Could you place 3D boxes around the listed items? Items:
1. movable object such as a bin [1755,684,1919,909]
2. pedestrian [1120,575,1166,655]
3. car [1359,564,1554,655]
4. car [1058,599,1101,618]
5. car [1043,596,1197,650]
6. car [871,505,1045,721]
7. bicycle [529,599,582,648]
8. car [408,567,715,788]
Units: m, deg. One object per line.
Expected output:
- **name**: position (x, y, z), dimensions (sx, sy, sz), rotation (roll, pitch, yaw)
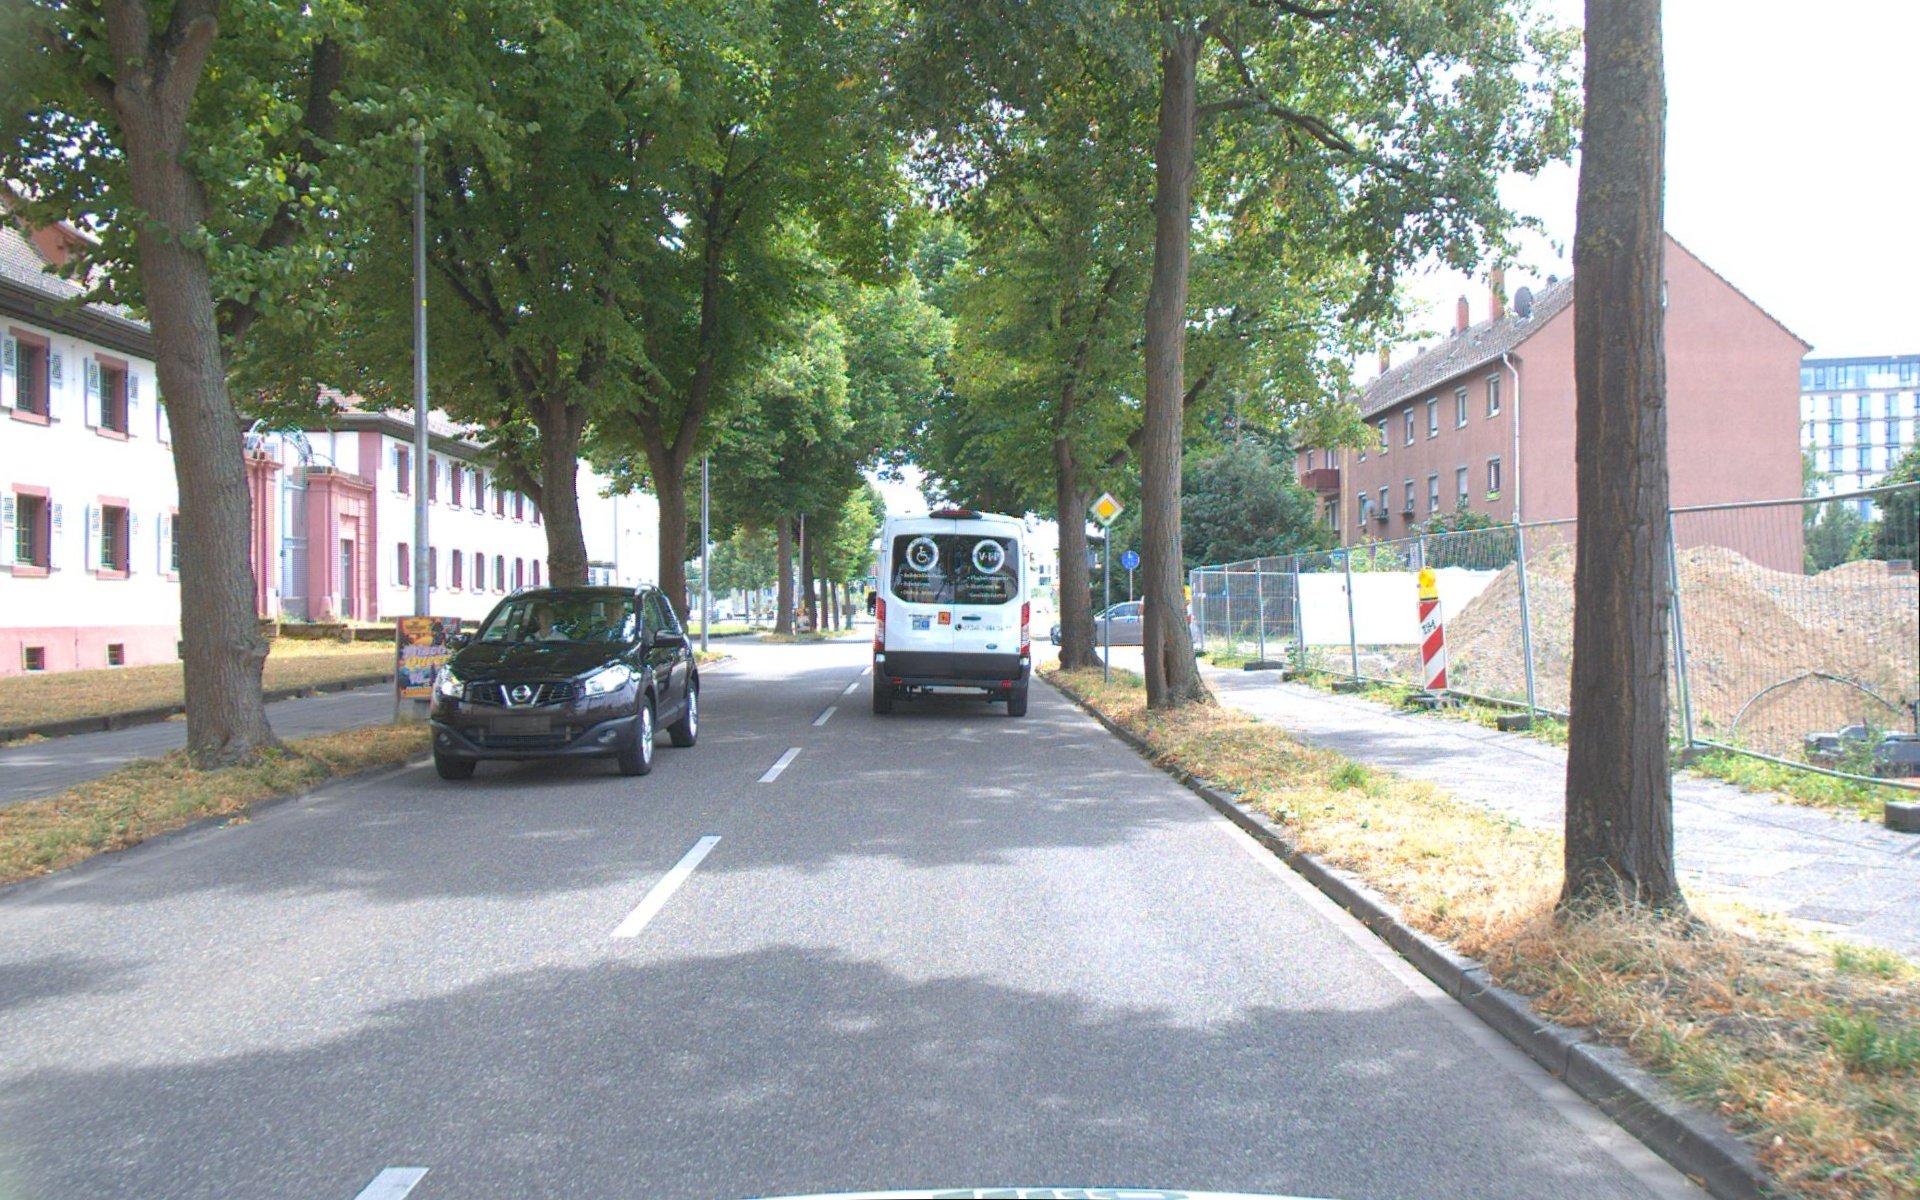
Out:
- **movable object such as a bin**: position (13.516, 2.518, 22.051), dimensions (4.583, 2.635, 3.135), rotation (-2, -1, 13)
- **pedestrian**: position (4.358, 0.352, 39.333), dimensions (0.864, 1.846, 0.889), rotation (-2, -1, 18)
- **car**: position (15.317, 0.265, 51.243), dimensions (5.360, 2.678, 2.336), rotation (-1, 1, 1)
- **car**: position (12.945, 0.940, 179.706), dimensions (4.315, 1.848, 2.010), rotation (-2, -1, -8)
- **car**: position (4.593, 0.689, 48.079), dimensions (4.281, 1.468, 2.011), rotation (-1, -2, 0)
- **car**: position (-0.132, 0.141, 21.884), dimensions (2.022, 2.584, 3.997), rotation (0, 1, -4)
- **bicycle**: position (-9.828, 0.565, 40.283), dimensions (0.708, 1.114, 2.225), rotation (4, 0, -1)
- **car**: position (-3.452, 0.620, 15.151), dimensions (1.735, 1.688, 4.256), rotation (-2, 0, 0)
